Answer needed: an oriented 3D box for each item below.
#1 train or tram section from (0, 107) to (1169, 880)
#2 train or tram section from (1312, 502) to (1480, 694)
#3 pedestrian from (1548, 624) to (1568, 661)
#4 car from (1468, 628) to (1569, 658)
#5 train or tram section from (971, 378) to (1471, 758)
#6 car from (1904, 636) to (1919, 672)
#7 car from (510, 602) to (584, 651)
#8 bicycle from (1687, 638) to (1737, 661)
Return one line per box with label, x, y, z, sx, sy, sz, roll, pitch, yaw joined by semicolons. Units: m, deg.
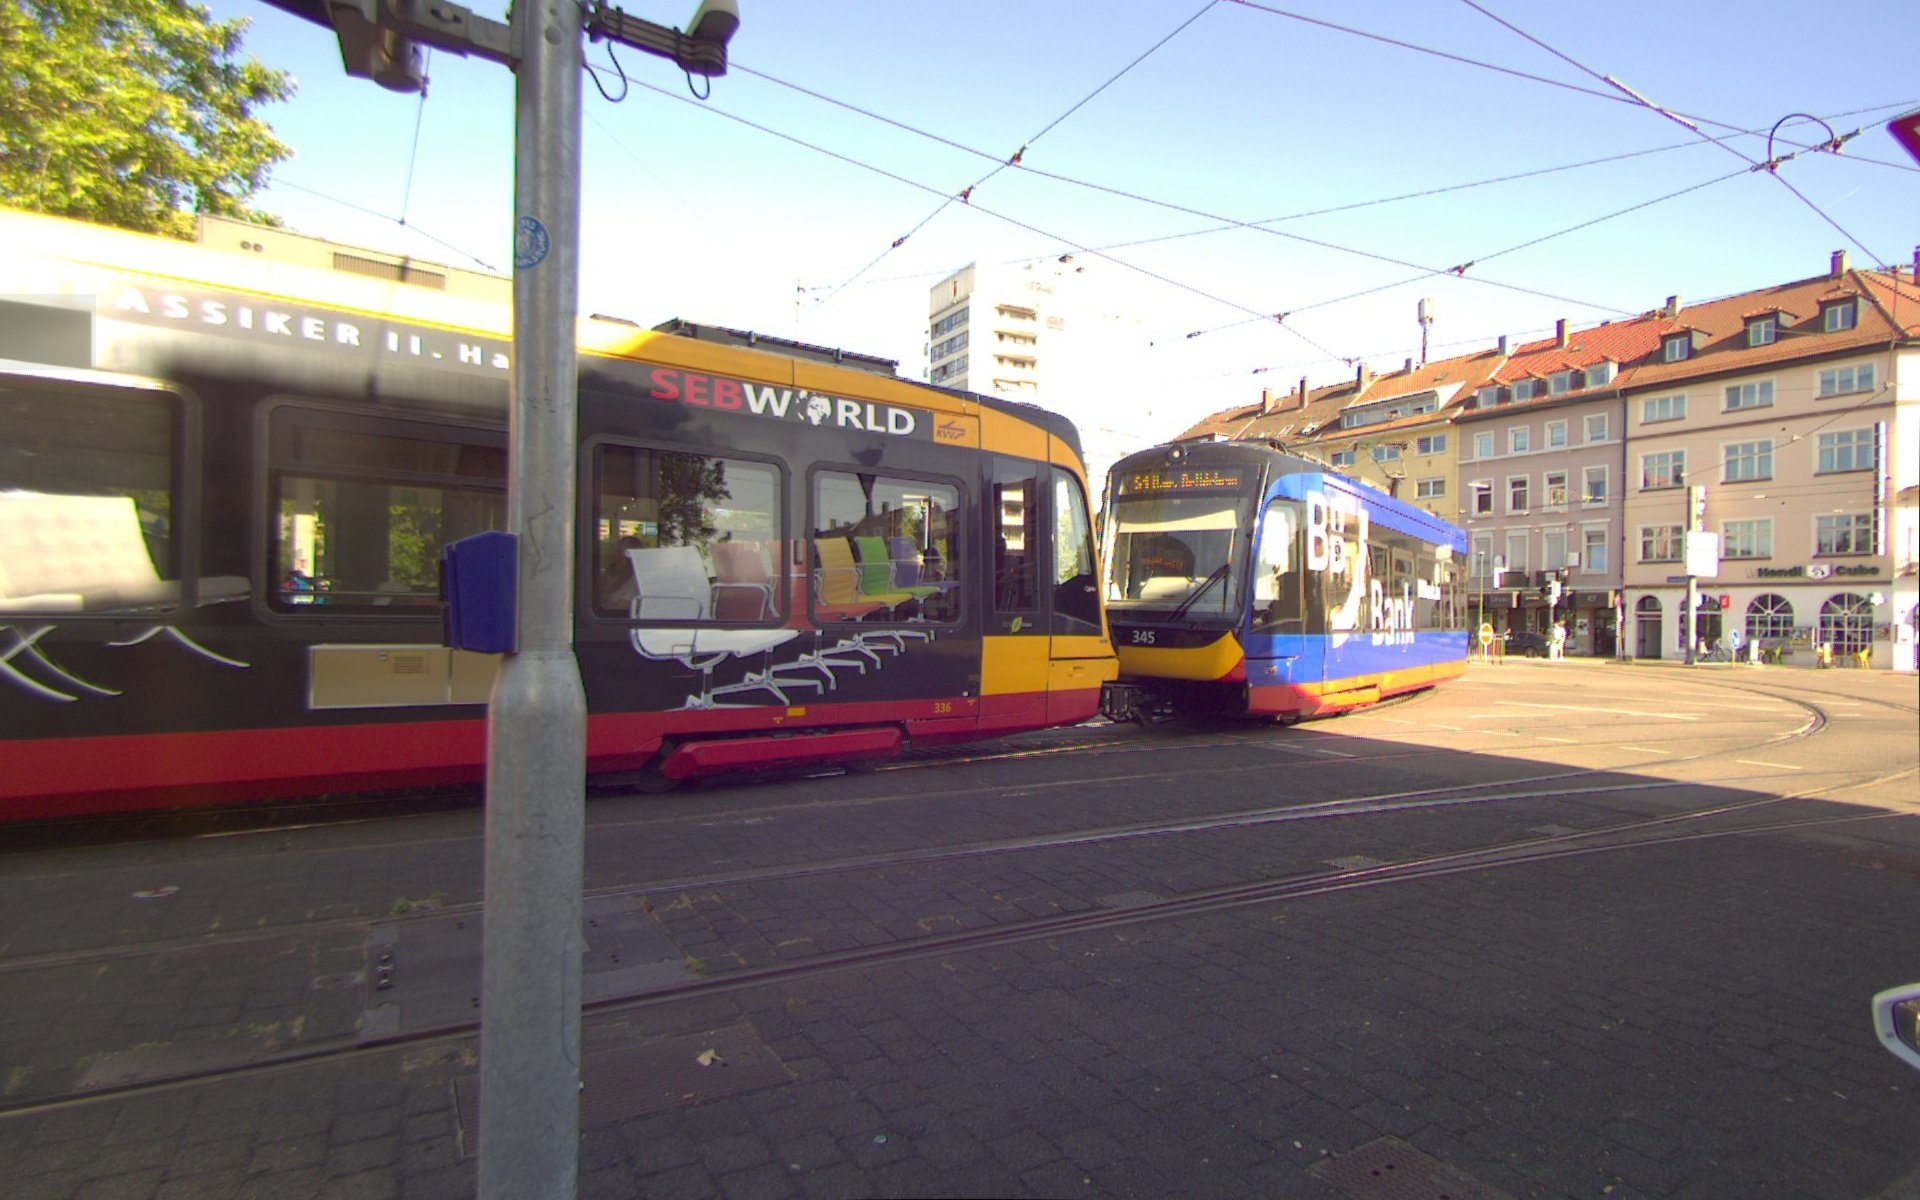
train or tram section;-3.614;-0.443;7.393;12.005;3.661;3.032;2;-1;-38
train or tram section;11.202;0.099;25.488;3.007;3.661;12.492;0;-1;25
pedestrian;27.169;1.908;45.649;0.715;1.648;0.669;0;-1;35
car;30.573;2.329;55.088;1.725;1.459;4.614;2;-1;-32
train or tram section;4.970;-0.172;15.399;3.016;3.661;12.068;0;-1;37
car;38.721;2.088;38.106;4.142;1.373;1.999;1;-1;-6
car;-13.618;0.852;32.972;1.697;1.506;4.186;1;-1;-30
bicycle;37.578;2.442;50.207;0.578;1.081;1.929;1;-1;-36
